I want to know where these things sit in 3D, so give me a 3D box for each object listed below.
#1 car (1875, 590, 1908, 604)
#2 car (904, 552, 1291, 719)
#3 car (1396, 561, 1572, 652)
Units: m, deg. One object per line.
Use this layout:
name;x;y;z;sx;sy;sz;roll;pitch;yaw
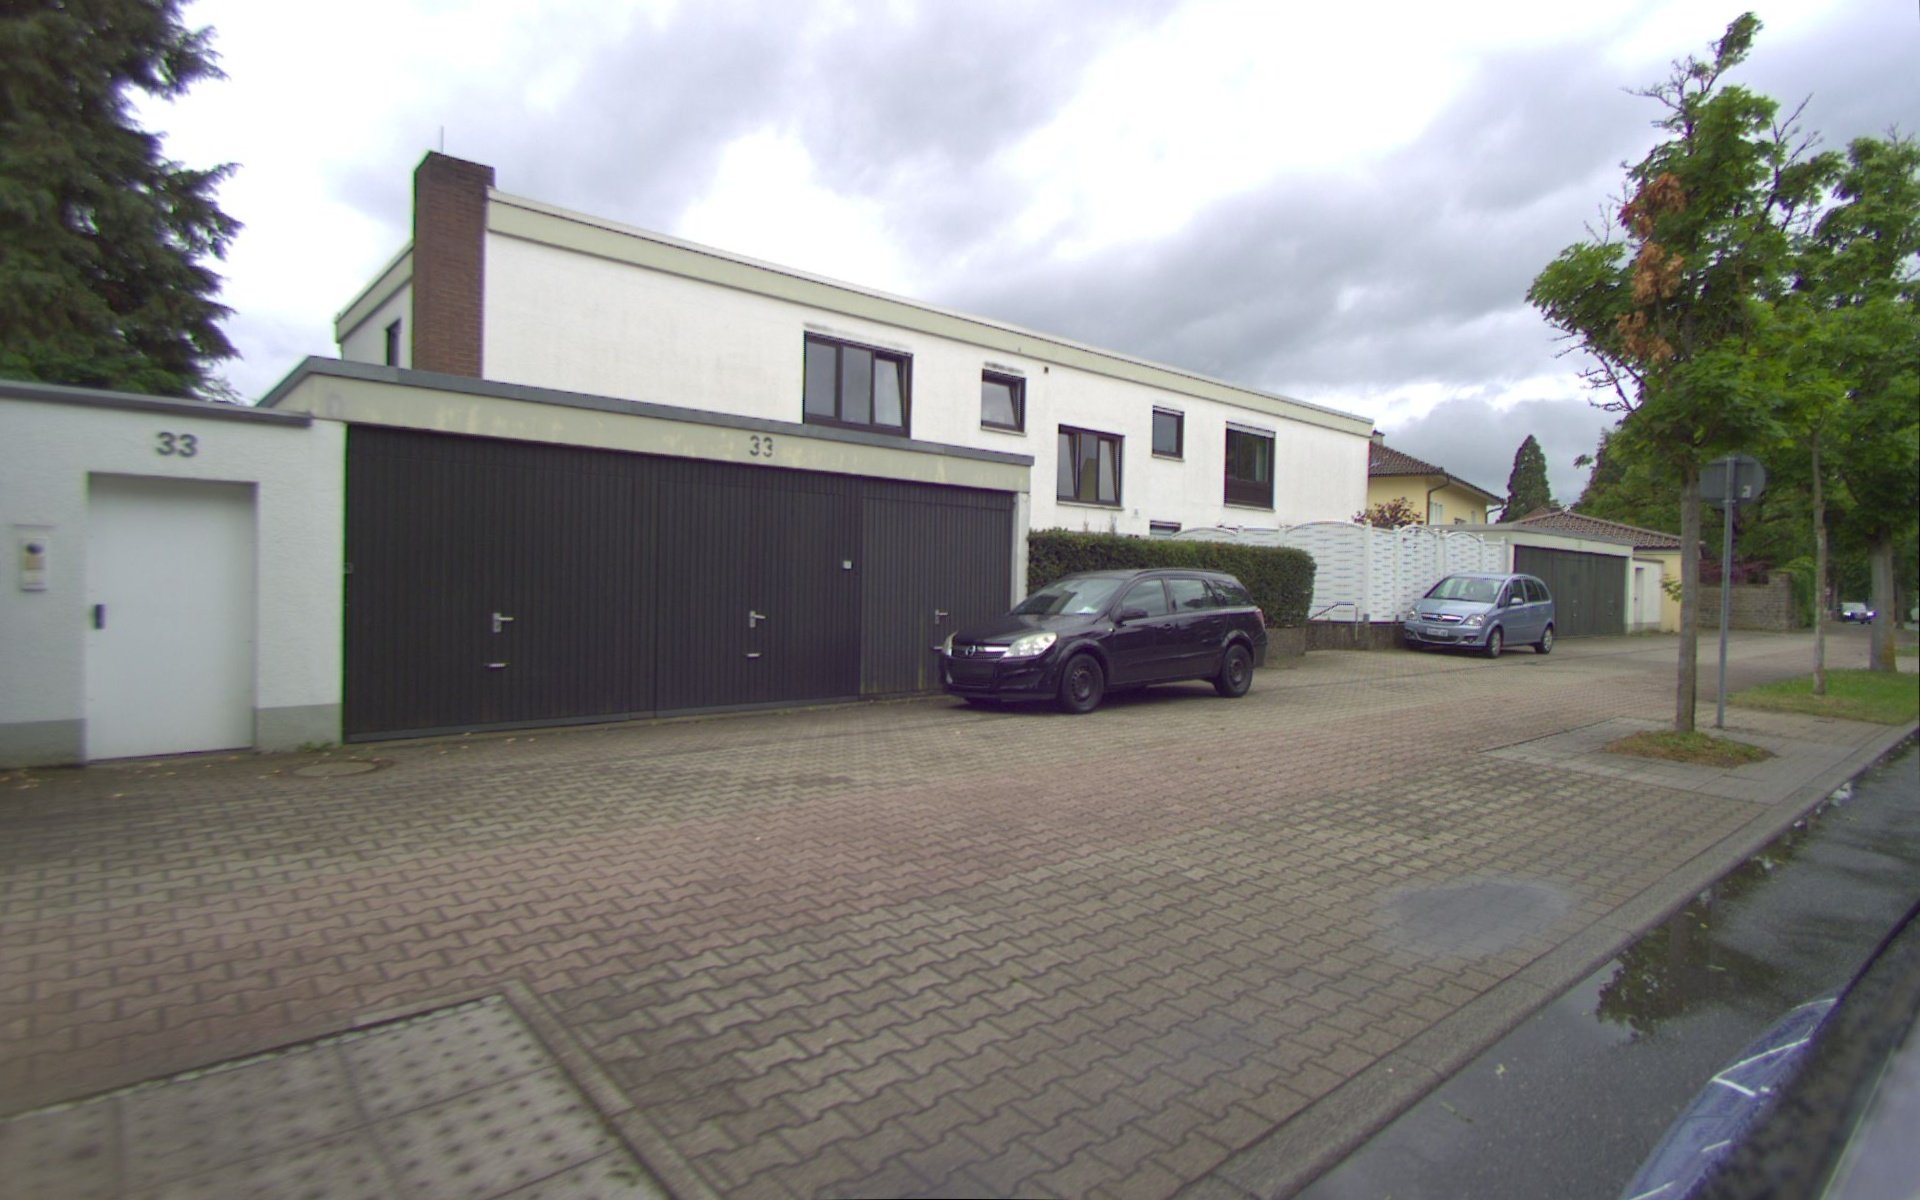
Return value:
car;100.906;-0.300;109.639;1.835;1.484;4.200;1;0;32
car;1.692;0.294;11.389;4.463;1.516;1.775;0;2;-40
car;10.555;0.090;20.284;3.929;1.630;1.748;0;2;-40
